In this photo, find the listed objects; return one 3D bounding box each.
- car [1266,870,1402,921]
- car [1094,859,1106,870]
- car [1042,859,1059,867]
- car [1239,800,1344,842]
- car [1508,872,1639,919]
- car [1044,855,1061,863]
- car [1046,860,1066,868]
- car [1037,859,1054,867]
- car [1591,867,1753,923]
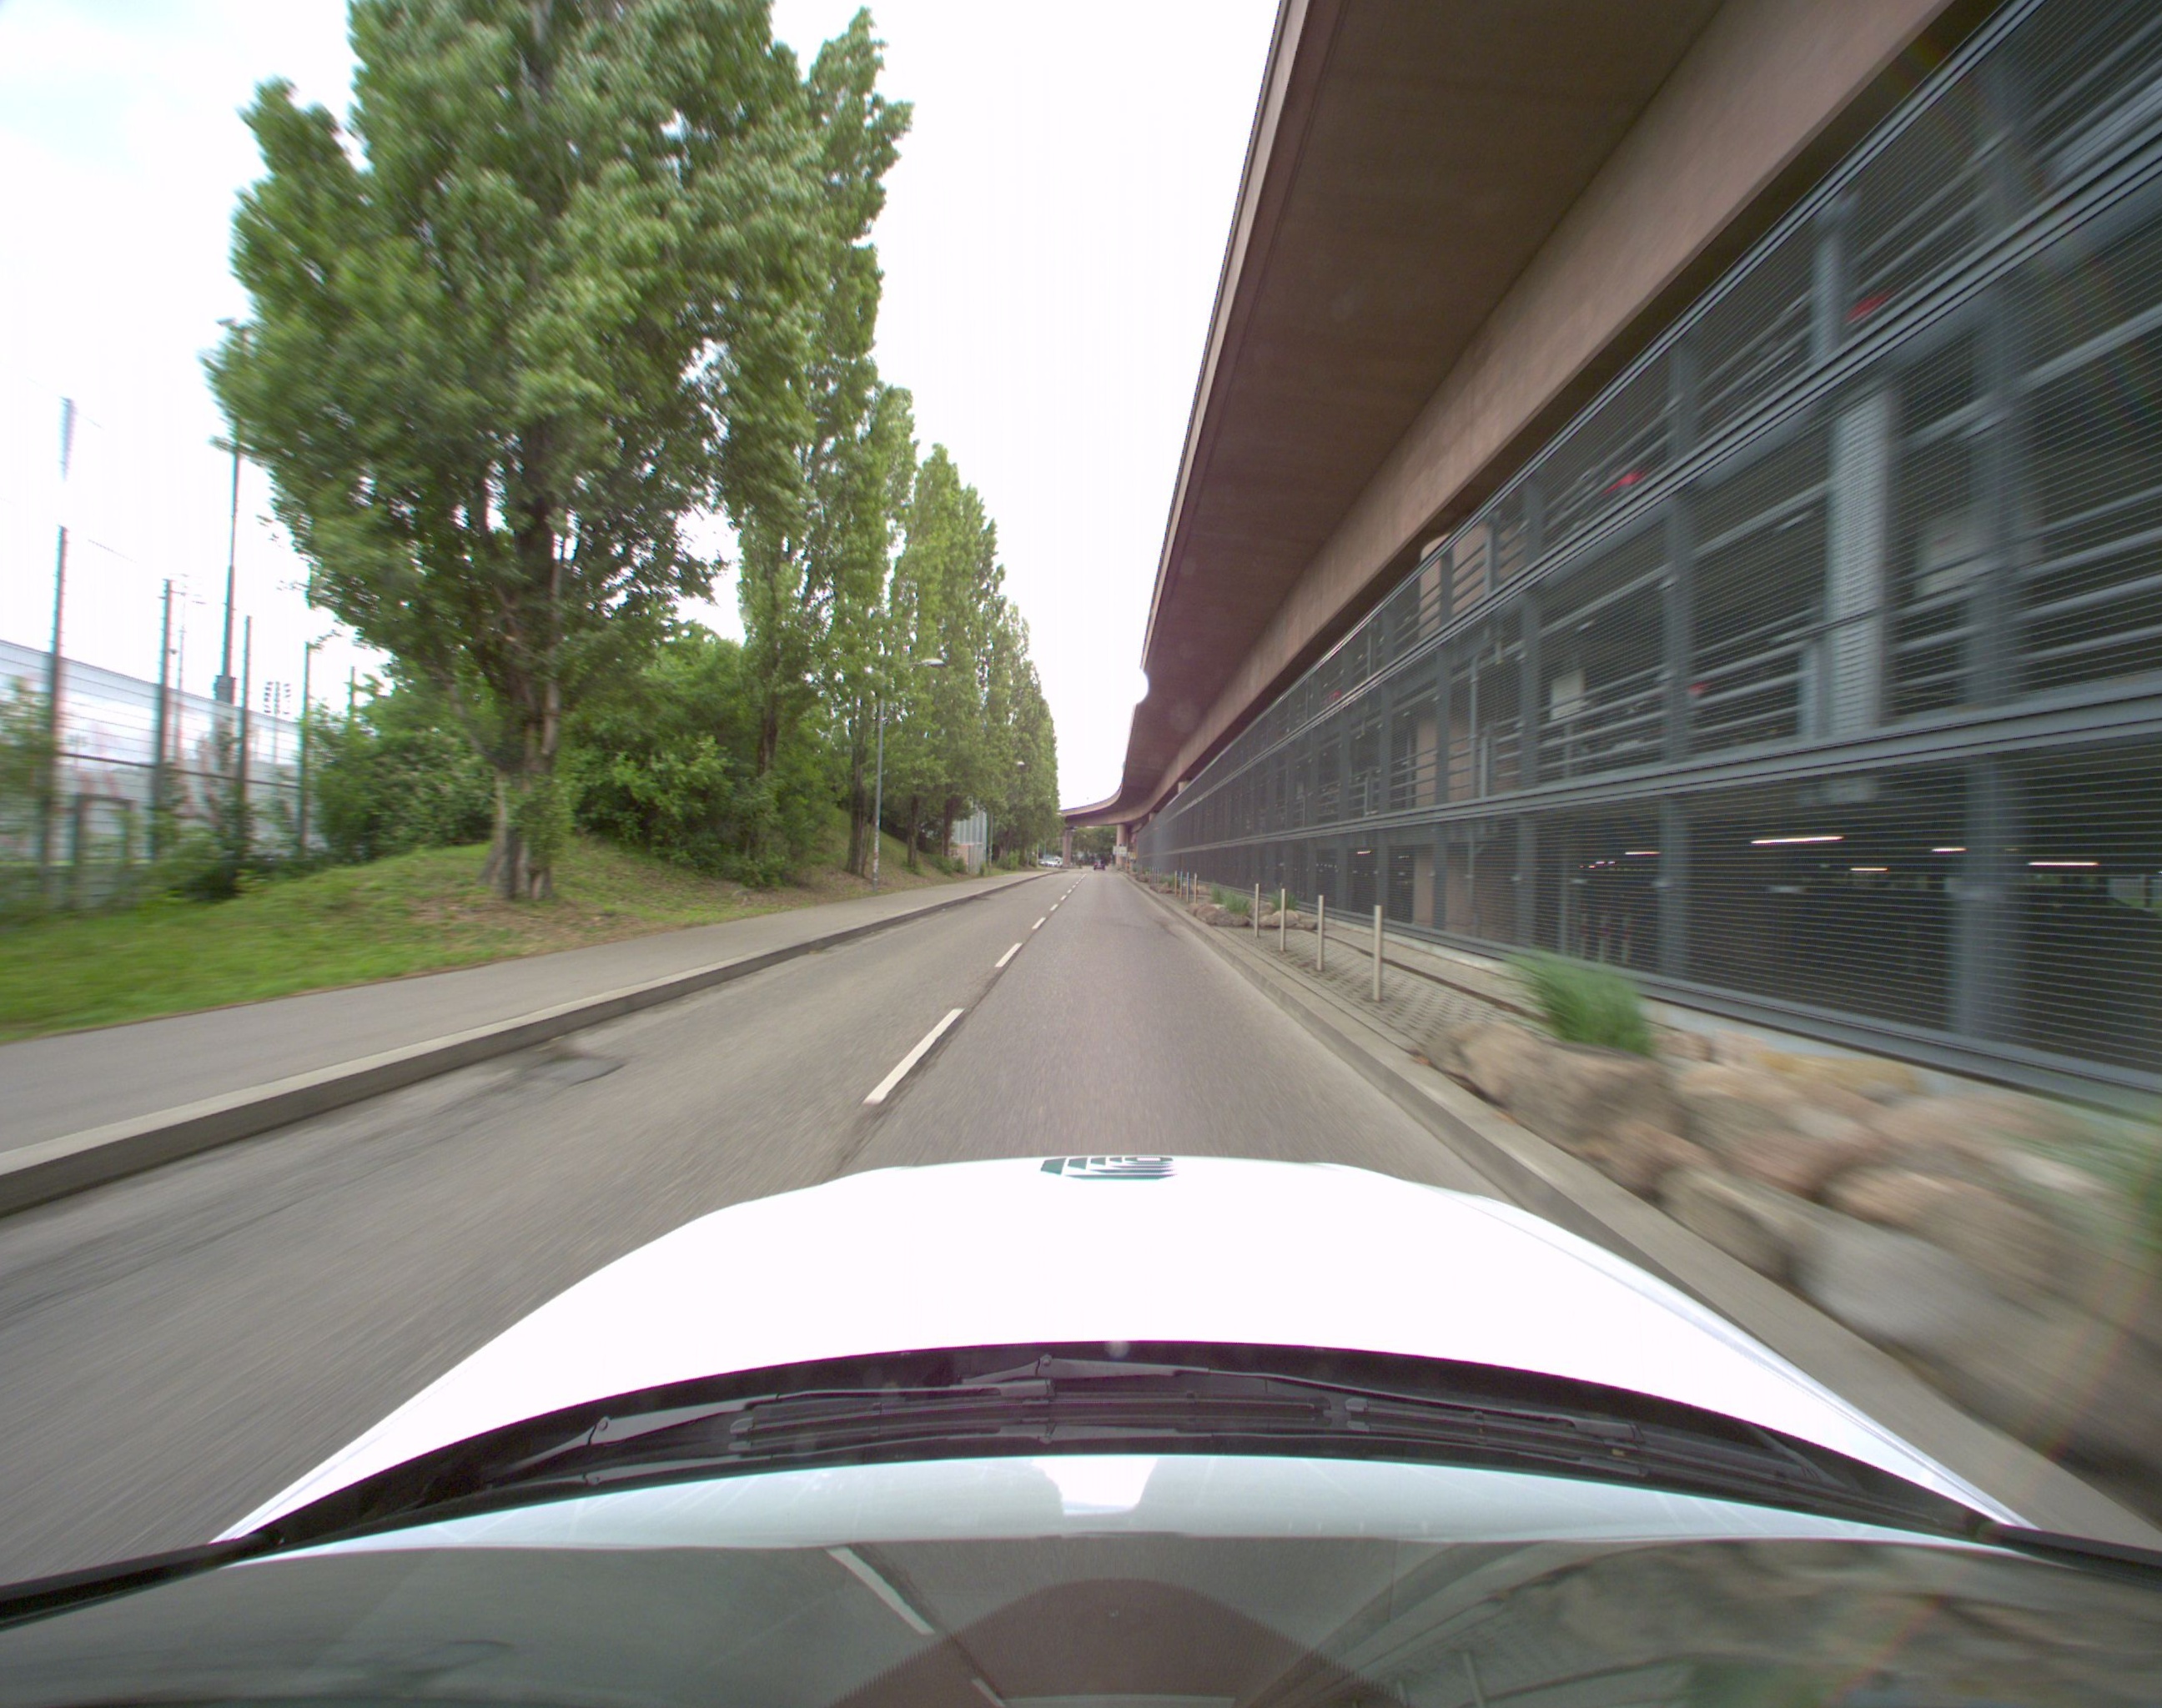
[{"bbox_3d":[8.366,1.363,27.207,3.973,1.466,1.811,2,0,1],"label":"car"},{"bbox_3d":[3.237,1.755,137.856,1.833,1.711,3.707,1,1,2],"label":"car"},{"bbox_3d":[-6.865,2.050,182.375,1.704,1.716,3.695,2,1,42],"label":"car"},{"bbox_3d":[8.771,-1.349,34.143,3.970,1.657,1.833,1,1,3],"label":"car"},{"bbox_3d":[19.057,1.594,31.642,3.973,1.615,1.835,2,0,1],"label":"car"},{"bbox_3d":[-7.366,1.199,212.292,4.200,2.014,2.000,1,-1,0],"label":"car"},{"bbox_3d":[-5.423,2.203,178.106,1.862,1.716,4.178,2,1,42],"label":"car"},{"bbox_3d":[-8.070,1.980,185.974,1.704,1.716,3.695,2,1,42],"label":"car"},{"bbox_3d":[19.087,1.306,26.430,3.973,1.615,1.722,2,0,1],"label":"car"}]
